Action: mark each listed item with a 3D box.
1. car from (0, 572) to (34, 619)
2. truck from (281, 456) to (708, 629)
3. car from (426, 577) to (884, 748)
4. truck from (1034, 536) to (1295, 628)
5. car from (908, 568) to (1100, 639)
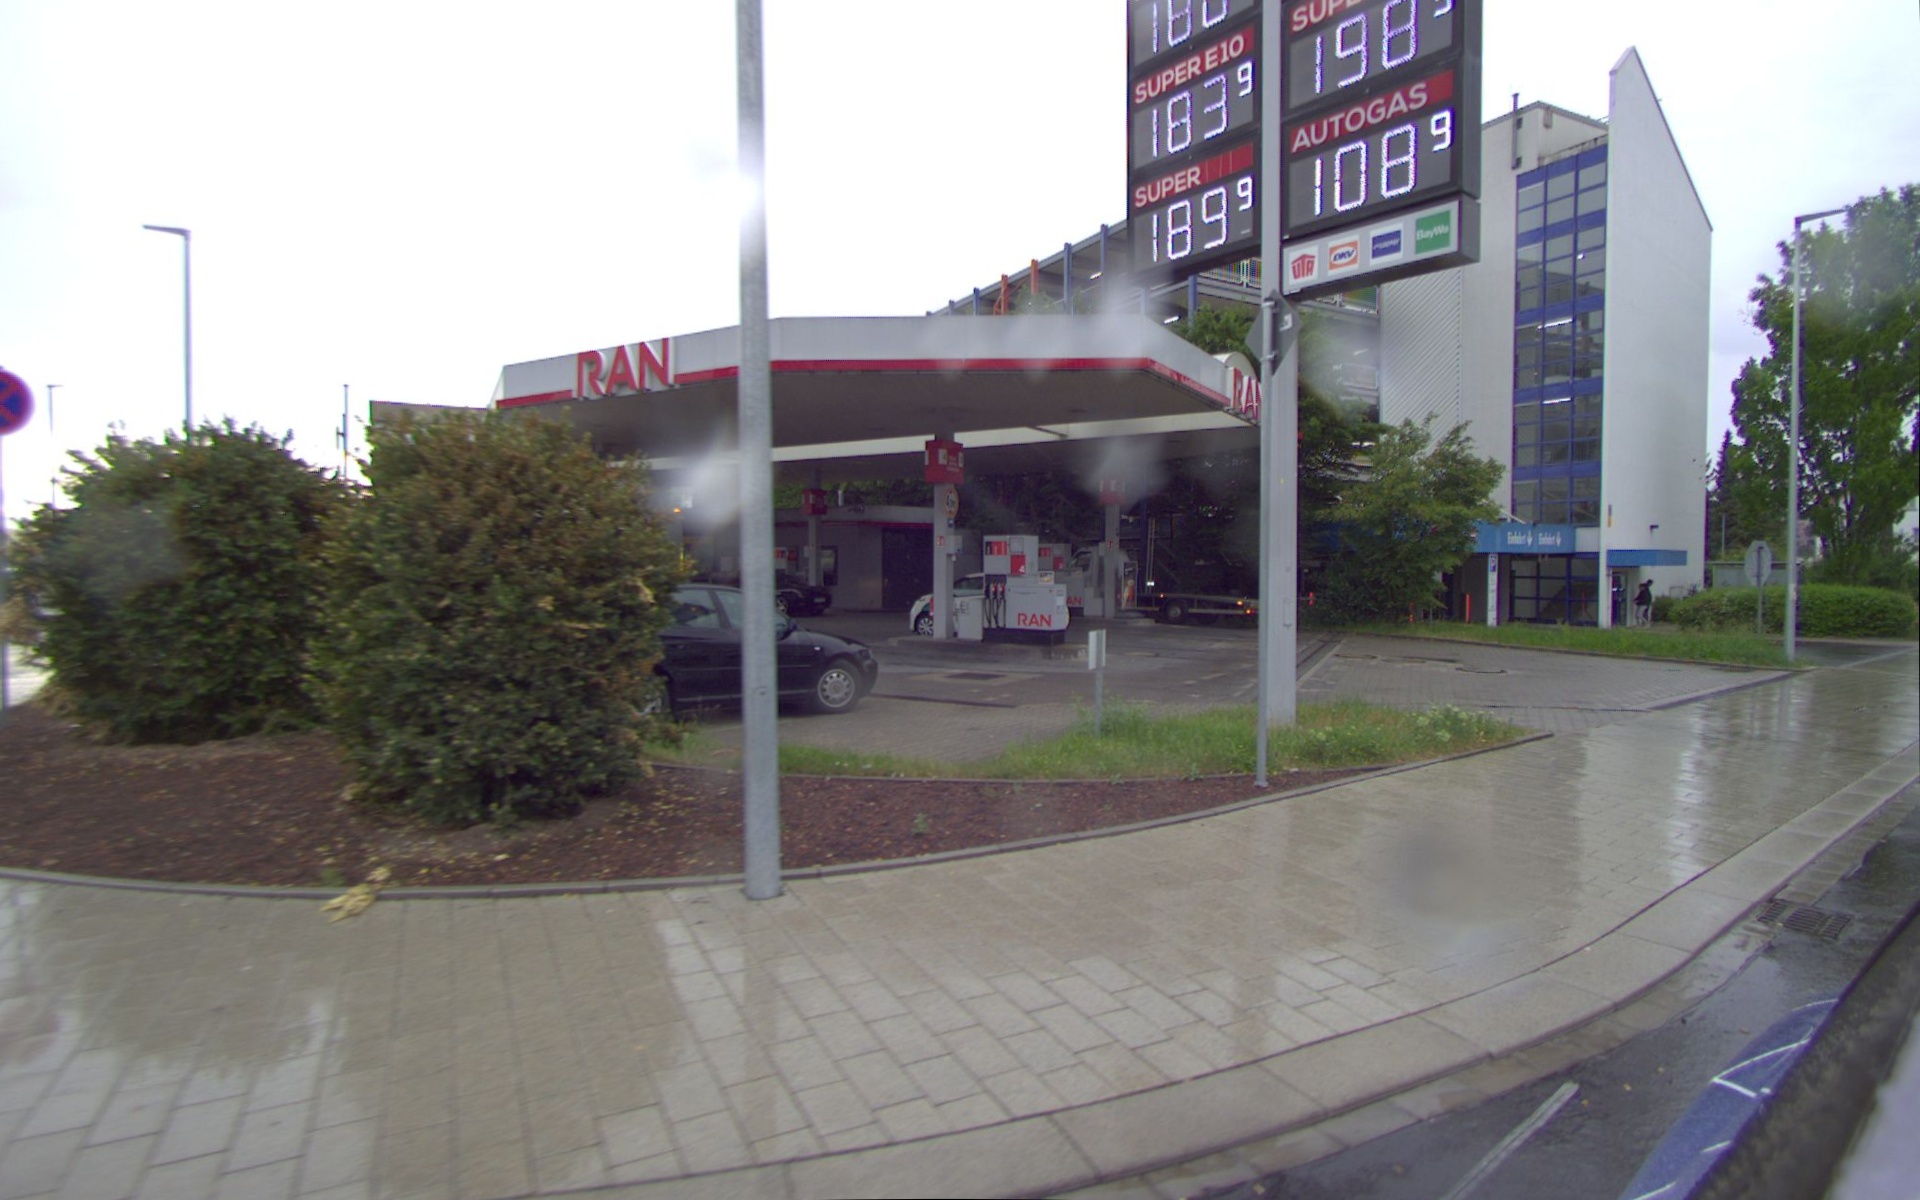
[{"bbox_3d":[-38.160,-0.201,39.570,1.960,1.805,4.005,-1,2,-29],"label":"car"},{"bbox_3d":[-12.128,-1.173,25.023,14.316,3.402,2.614,1,-1,35],"label":"truck"},{"bbox_3d":[-2.857,0.454,10.310,1.687,1.356,4.278,1,2,40],"label":"car"},{"bbox_3d":[5.580,-0.588,28.751,7.281,2.234,2.051,4,1,45],"label":"truck"},{"bbox_3d":[0.951,0.019,22.647,3.971,1.445,1.755,1,2,33],"label":"car"}]
